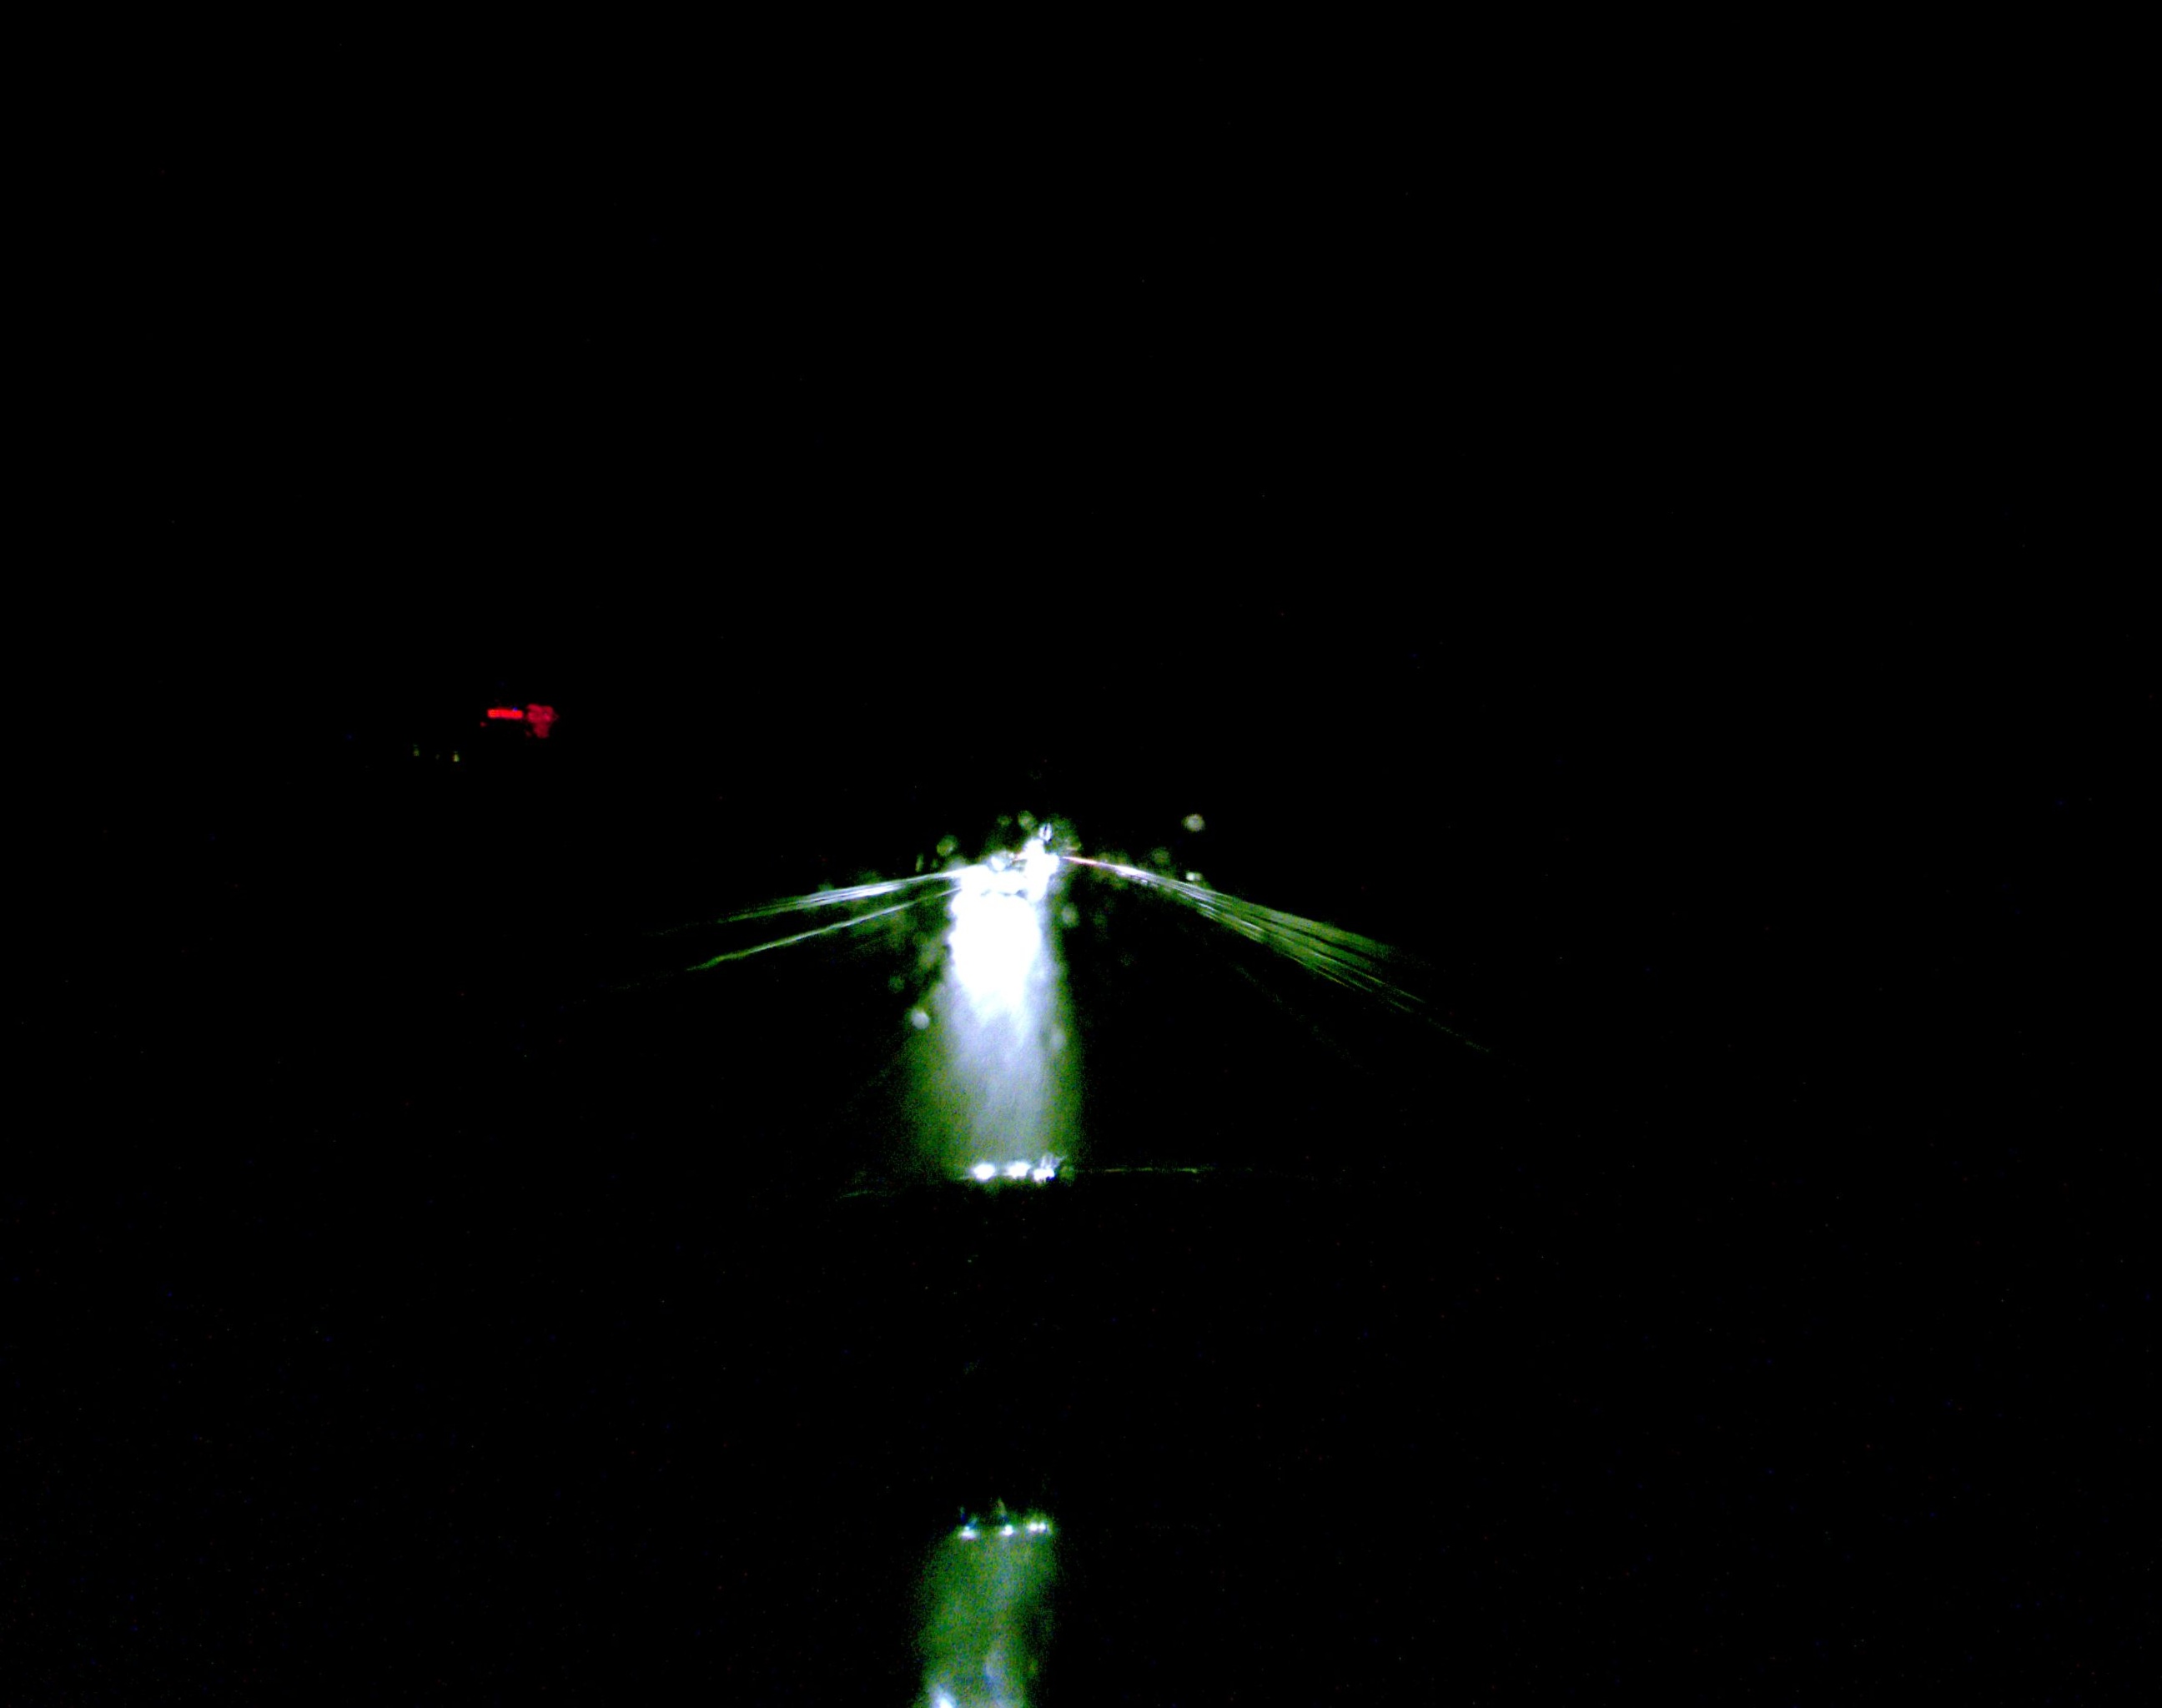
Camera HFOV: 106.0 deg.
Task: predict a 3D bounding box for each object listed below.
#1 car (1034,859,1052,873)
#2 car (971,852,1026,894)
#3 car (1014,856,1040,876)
[{"bbox_3d":[-4.082,1.281,87.537,1.828,1.483,4.066,-1,0,-2],"label":"car"},{"bbox_3d":[-3.180,0.708,31.910,1.696,1.506,3.684,-1,0,1],"label":"car"},{"bbox_3d":[-4.224,0.897,64.700,1.827,1.483,4.350,-1,0,-1],"label":"car"}]
